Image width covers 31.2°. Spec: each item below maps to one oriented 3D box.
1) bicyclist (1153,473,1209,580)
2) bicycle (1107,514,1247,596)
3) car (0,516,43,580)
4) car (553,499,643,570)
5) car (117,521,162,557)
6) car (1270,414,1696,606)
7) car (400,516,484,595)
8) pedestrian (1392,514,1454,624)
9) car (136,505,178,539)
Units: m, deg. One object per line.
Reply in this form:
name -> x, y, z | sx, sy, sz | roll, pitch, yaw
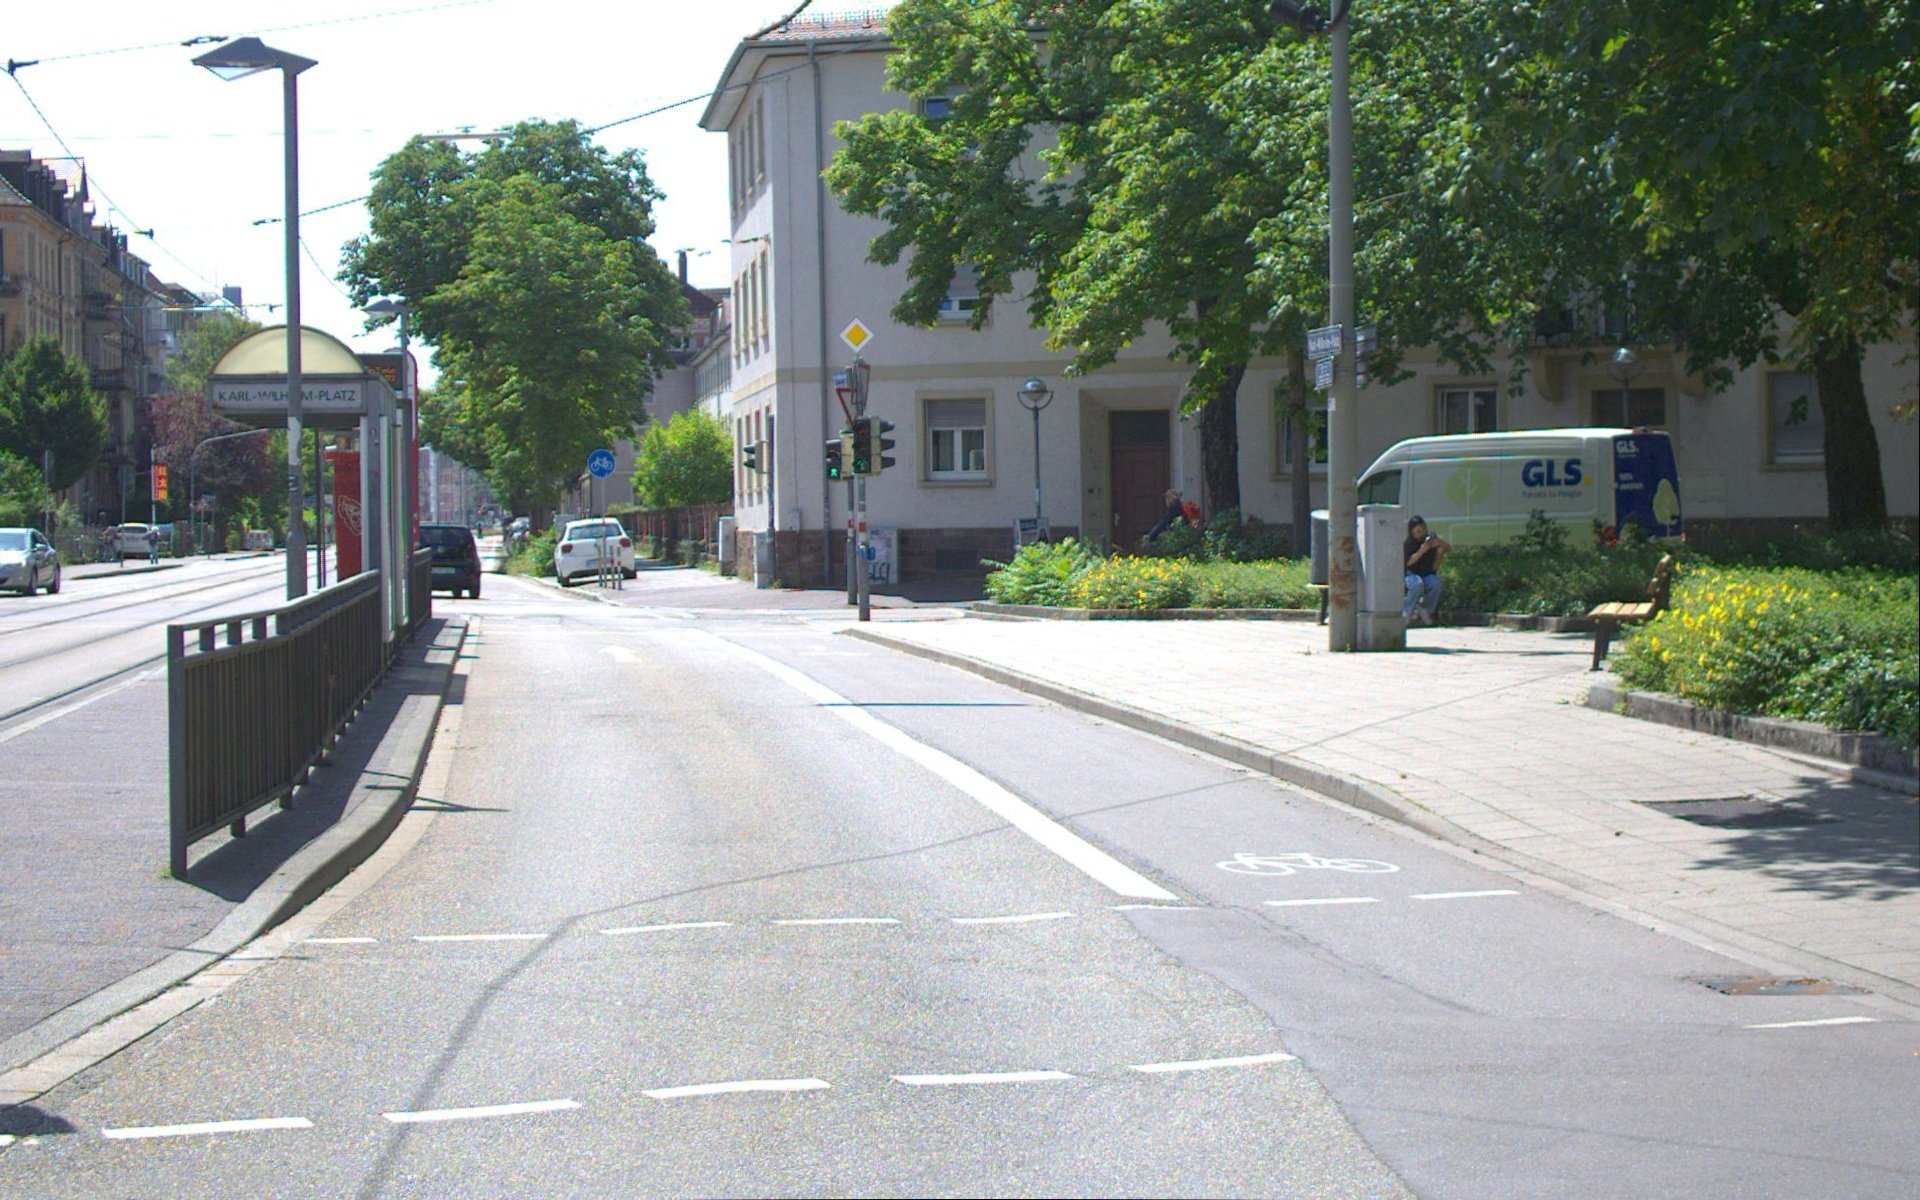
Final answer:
bicyclist -> 3.398, -1.128, 52.834 | 0.694, 1.640, 0.579 | 0, 1, 26
bicycle -> 3.339, -0.693, 52.863 | 2.083, 1.232, 0.580 | 0, 1, 25
car -> -20.375, -1.105, 72.733 | 1.540, 1.334, 3.720 | 0, 1, -9
car -> -8.290, -1.492, 78.492 | 1.747, 1.467, 3.939 | -4, 2, -9
car -> -36.660, -2.733, 153.677 | 1.684, 1.467, 3.939 | -4, 2, -10
car -> 7.364, -1.268, 48.913 | 5.846, 2.581, 1.995 | 1, 2, 43
car -> -10.077, -0.879, 67.031 | 1.524, 1.439, 3.366 | -3, 1, -8
pedestrian -> 4.753, -0.321, 35.304 | 0.509, 1.088, 0.478 | -3, 3, -2
car -> -37.825, -3.650, 162.013 | 1.628, 1.467, 3.565 | -4, 2, -10
